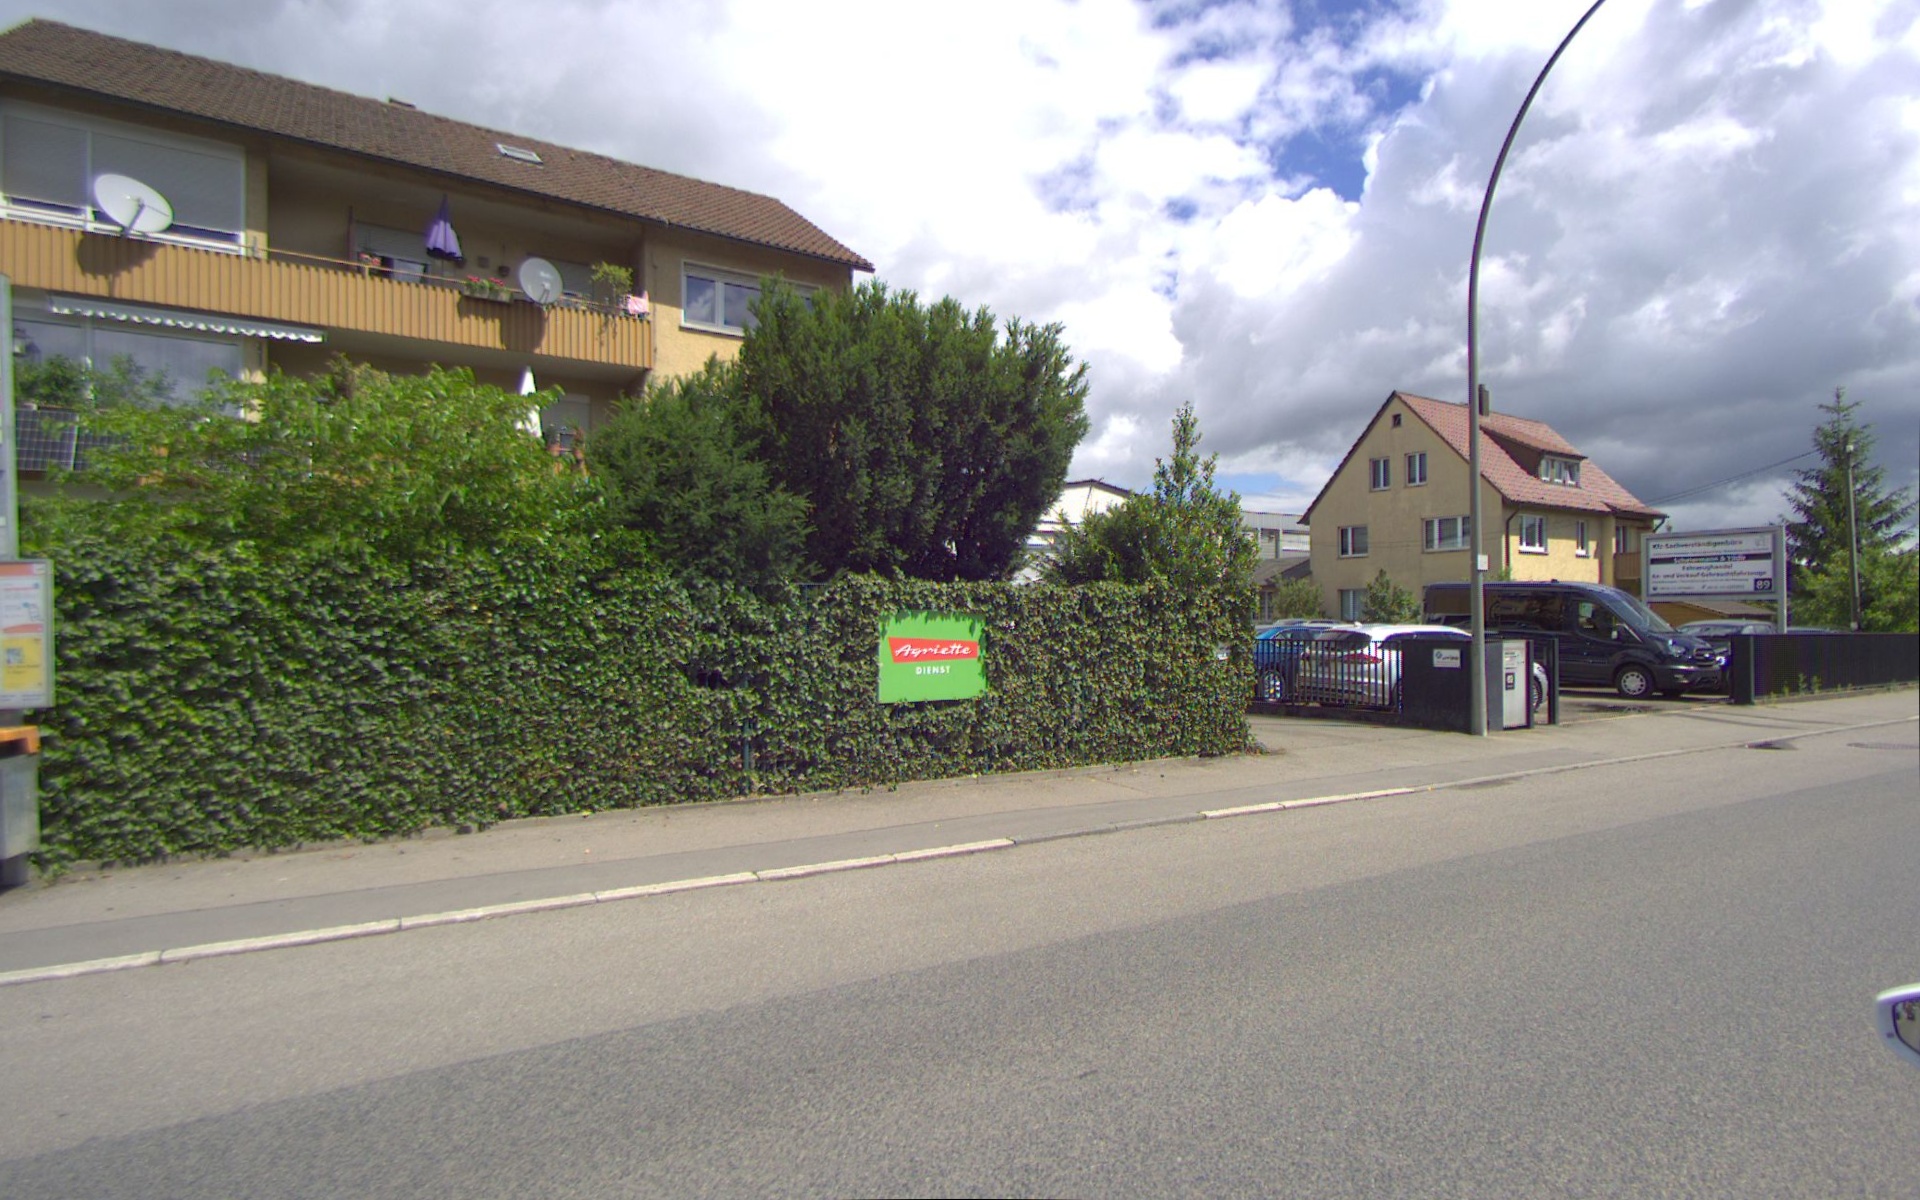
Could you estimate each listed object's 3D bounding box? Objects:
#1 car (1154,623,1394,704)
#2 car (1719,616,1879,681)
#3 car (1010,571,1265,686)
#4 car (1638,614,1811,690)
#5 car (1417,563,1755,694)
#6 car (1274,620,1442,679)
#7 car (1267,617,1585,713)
[{"bbox_3d":[6.097,1.174,19.549,4.266,1.445,1.842,0,-2,-21],"label":"car"},{"bbox_3d":[21.625,1.196,25.865,4.225,1.526,2.140,1,-2,-35],"label":"car"},{"bbox_3d":[4.436,0.732,24.815,6.061,2.528,2.402,1,-3,-29],"label":"car"},{"bbox_3d":[17.842,1.159,23.410,4.241,1.616,2.019,1,-2,-35],"label":"car"},{"bbox_3d":[13.754,0.646,22.611,2.449,2.529,6.006,1,-2,-31],"label":"car"},{"bbox_3d":[10.773,1.303,27.469,1.930,1.499,4.024,1,-2,-28],"label":"car"},{"bbox_3d":[8.176,1.068,17.623,5.261,1.505,1.990,0,-2,-21],"label":"car"}]
